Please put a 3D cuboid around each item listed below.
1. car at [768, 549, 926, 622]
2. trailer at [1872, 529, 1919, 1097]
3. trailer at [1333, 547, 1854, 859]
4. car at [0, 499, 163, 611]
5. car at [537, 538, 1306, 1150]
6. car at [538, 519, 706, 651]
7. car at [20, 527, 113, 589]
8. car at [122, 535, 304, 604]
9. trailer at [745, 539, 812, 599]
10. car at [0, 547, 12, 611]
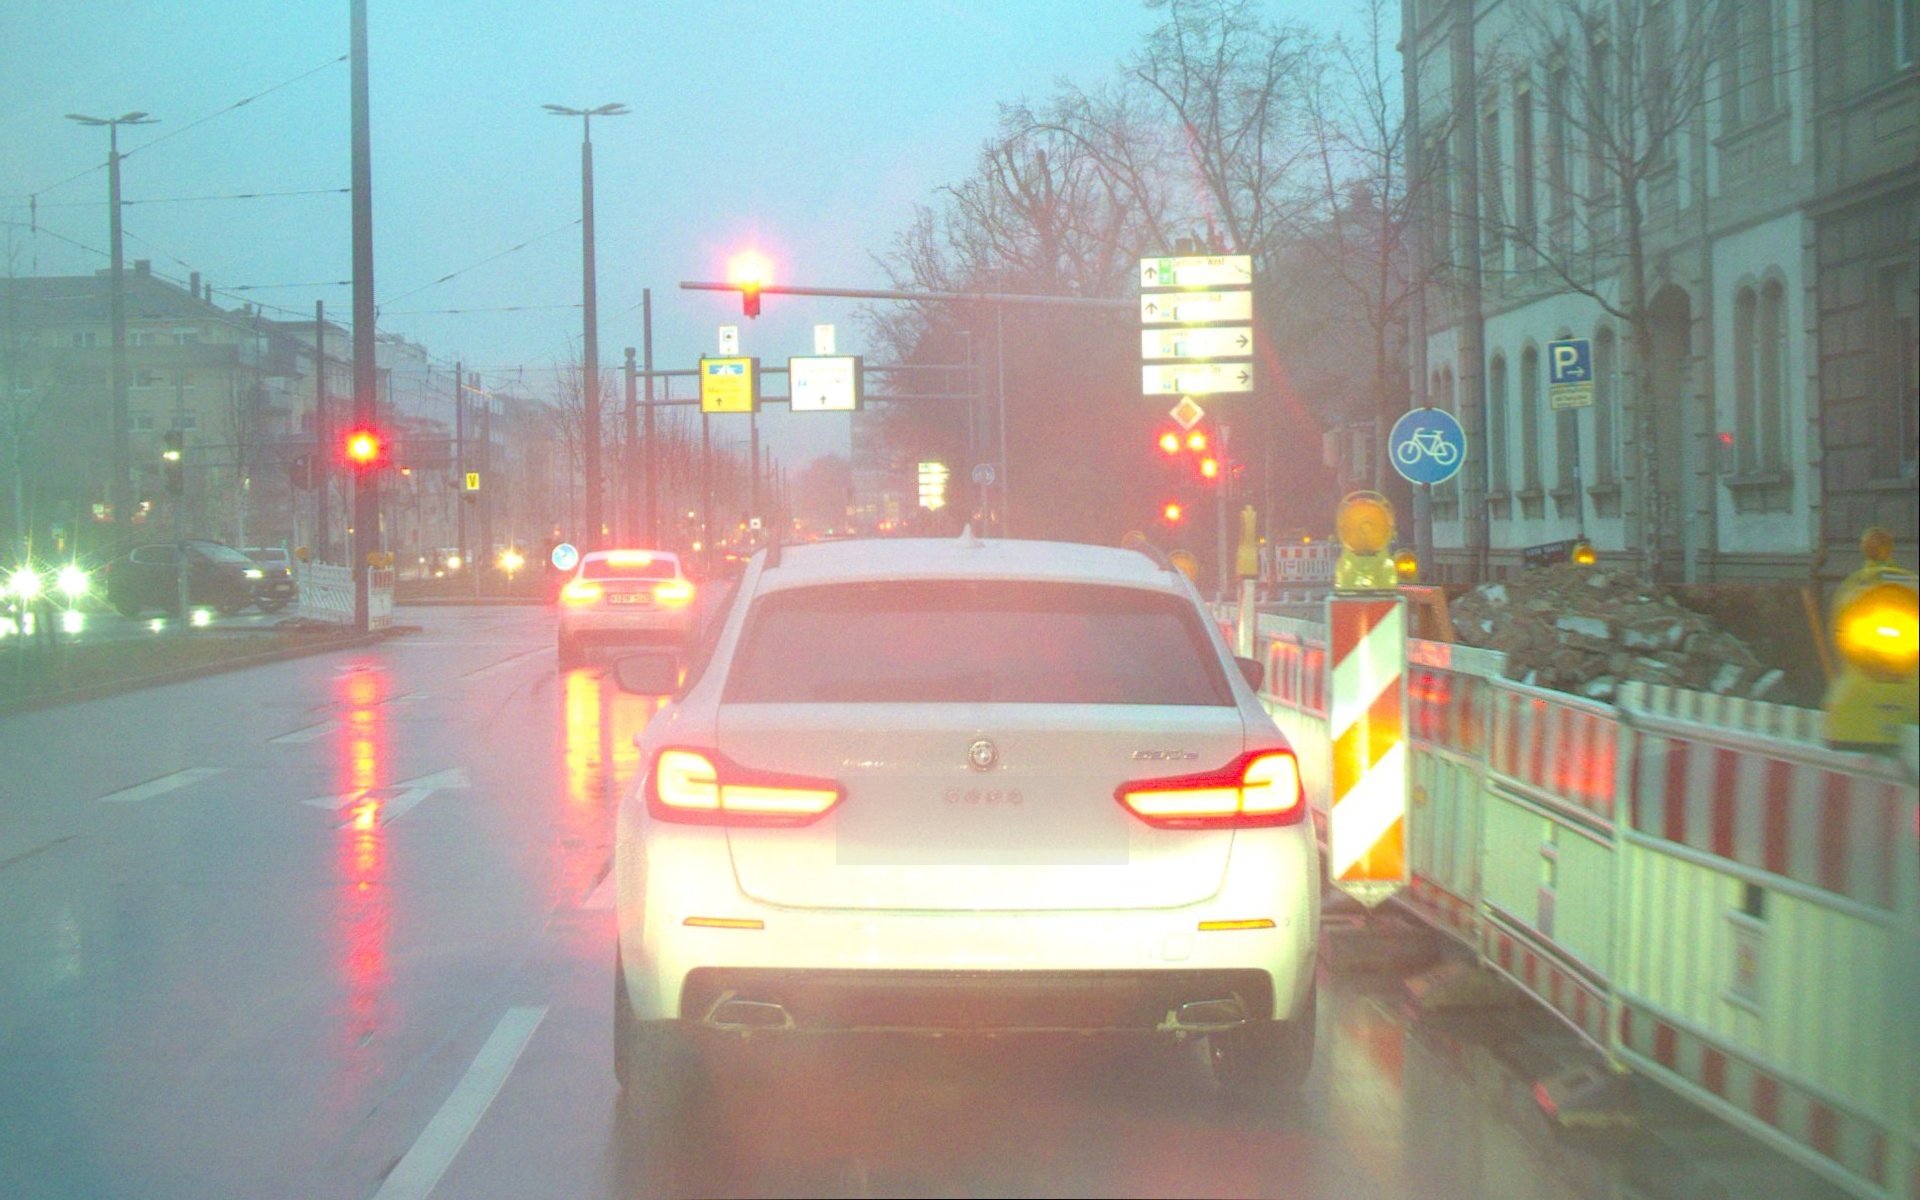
[{"bbox_3d":[-2.693,-0.366,80.971,1.901,1.636,4.000,0,1,-33],"label":"car"},{"bbox_3d":[3.485,0.599,7.005,1.835,1.485,4.848,-1,1,-2],"label":"trailer"},{"bbox_3d":[3.028,0.432,17.153,1.851,1.341,3.529,-1,1,-2],"label":"trailer"},{"bbox_3d":[-16.470,-0.819,61.744,3.986,1.968,2.001,0,1,-20],"label":"car"},{"bbox_3d":[-0.187,0.547,10.778,1.852,1.460,4.947,0,1,-2],"label":"car"},{"bbox_3d":[-4.365,-0.227,44.923,1.901,1.636,4.000,0,1,-2],"label":"car"},{"bbox_3d":[-24.238,-1.162,93.334,1.857,1.634,4.033,0,1,-6],"label":"car"},{"bbox_3d":[-16.533,-0.692,76.113,3.533,1.487,1.744,1,1,12],"label":"car"},{"bbox_3d":[-5.186,-0.902,97.688,1.834,1.637,4.001,0,1,-4],"label":"trailer"},{"bbox_3d":[-24.122,-0.516,81.562,1.740,1.487,3.541,-1,2,-42],"label":"car"}]
